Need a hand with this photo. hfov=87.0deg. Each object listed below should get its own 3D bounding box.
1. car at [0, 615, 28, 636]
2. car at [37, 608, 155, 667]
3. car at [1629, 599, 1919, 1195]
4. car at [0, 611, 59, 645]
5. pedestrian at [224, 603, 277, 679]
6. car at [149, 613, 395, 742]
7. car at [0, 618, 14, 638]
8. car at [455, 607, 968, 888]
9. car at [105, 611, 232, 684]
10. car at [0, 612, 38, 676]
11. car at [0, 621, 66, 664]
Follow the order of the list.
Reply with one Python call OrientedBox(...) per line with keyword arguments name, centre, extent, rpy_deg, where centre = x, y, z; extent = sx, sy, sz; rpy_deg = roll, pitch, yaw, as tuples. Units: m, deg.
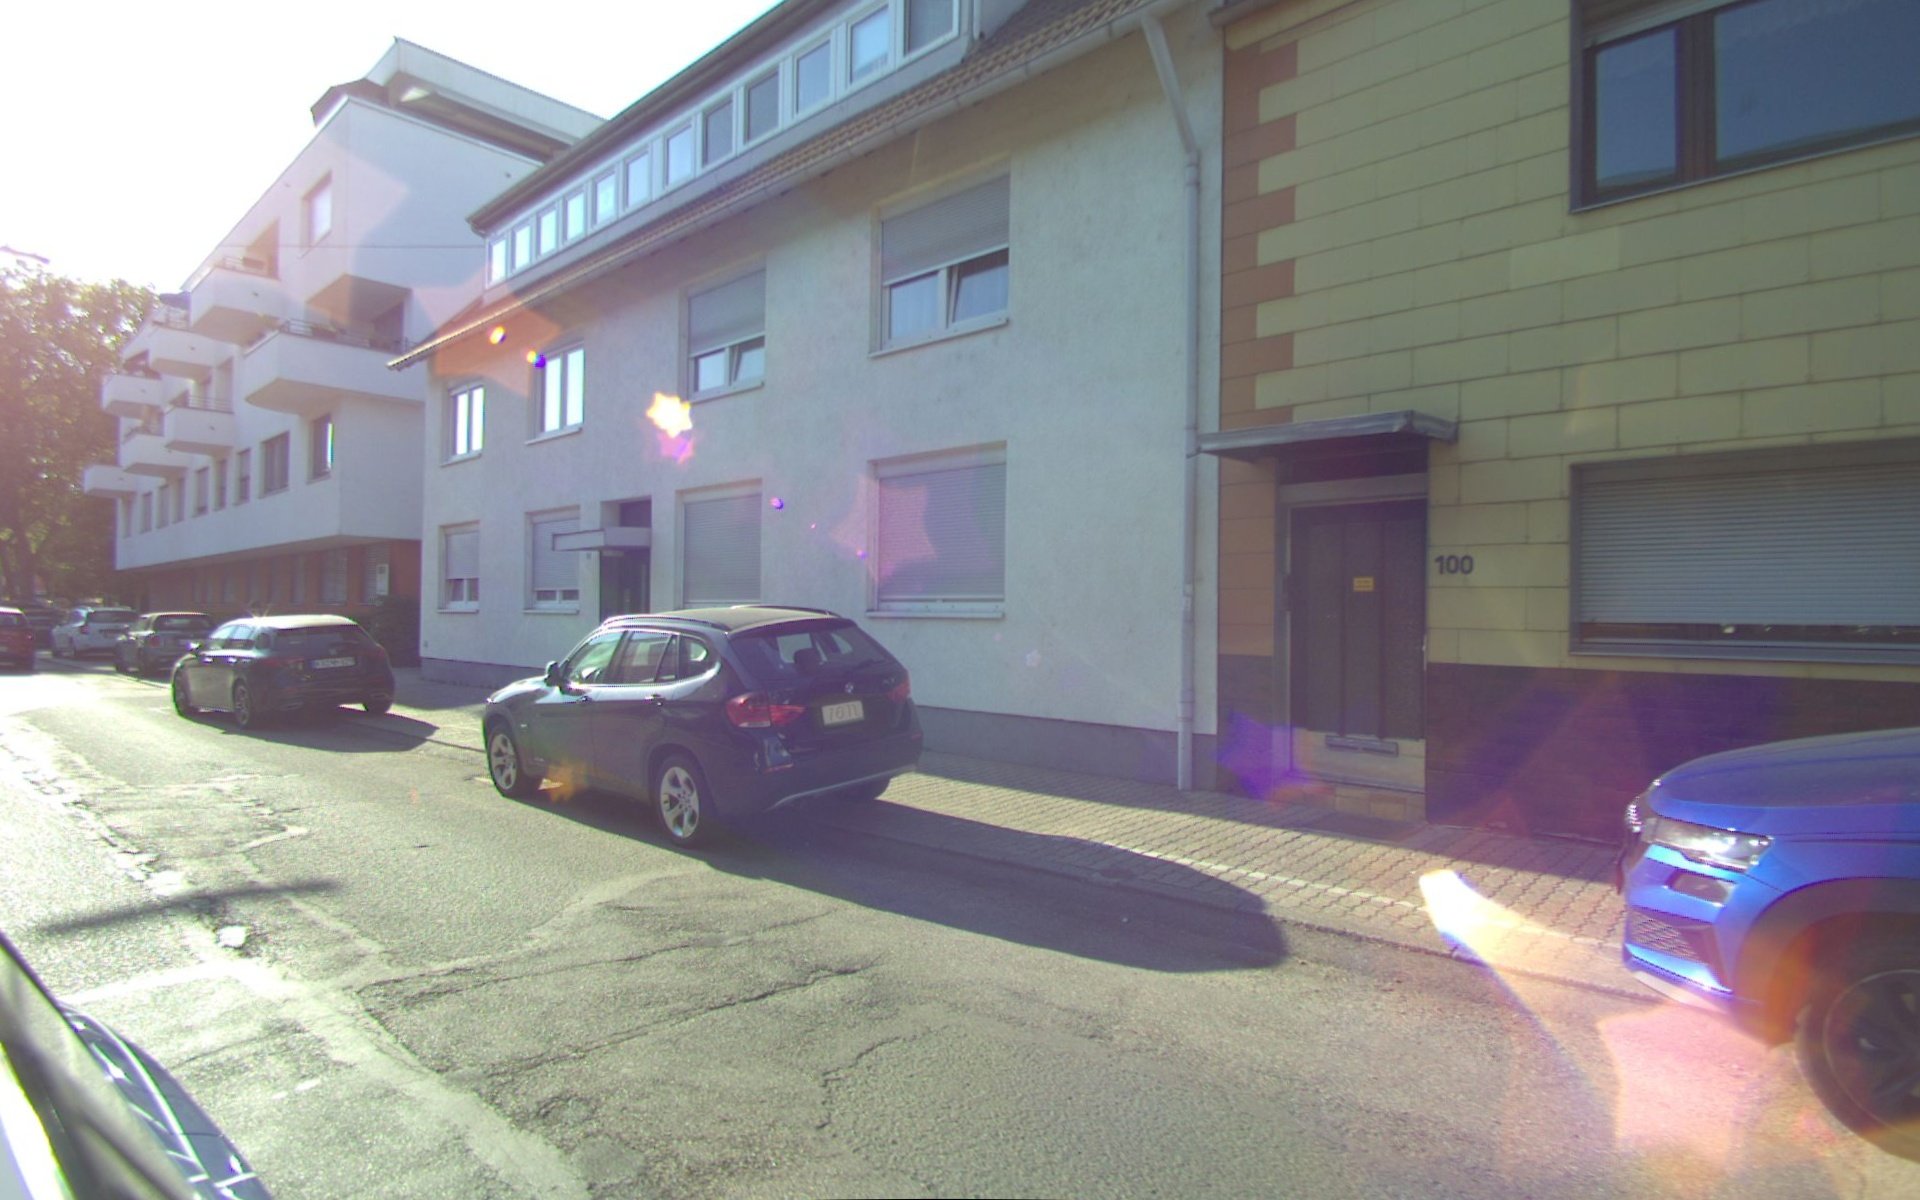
OrientedBox(name="car", centre=(-75.025, 1.955, 78.279), extent=(1.788, 1.637, 3.965), rpy_deg=(0, -1, 26))
OrientedBox(name="car", centre=(-26.096, 1.069, 30.523), extent=(4.615, 1.599, 1.840), rpy_deg=(0, 1, 38))
OrientedBox(name="car", centre=(4.293, 0.764, 2.480), extent=(4.191, 1.599, 1.790), rpy_deg=(-3, -1, 41))
OrientedBox(name="car", centre=(-48.643, 1.416, 51.512), extent=(1.683, 1.675, 3.944), rpy_deg=(0, 0, 13))
OrientedBox(name="pedestrian", centre=(-18.076, 1.021, 25.821), extent=(0.849, 1.832, 1.136), rpy_deg=(-3, 1, -25))
OrientedBox(name="car", centre=(-9.968, 0.985, 14.543), extent=(4.328, 1.547, 1.668), rpy_deg=(0, 1, 38))
OrientedBox(name="car", centre=(-77.011, 2.231, 79.547), extent=(1.639, 1.572, 3.573), rpy_deg=(0, 0, 22))
OrientedBox(name="car", centre=(-2.173, 0.918, 8.053), extent=(4.335, 1.599, 1.838), rpy_deg=(-2, 0, 42))
OrientedBox(name="car", centre=(-18.960, 1.075, 24.192), extent=(3.855, 1.547, 1.650), rpy_deg=(0, 1, 41))
OrientedBox(name="car", centre=(-24.150, 1.043, 24.925), extent=(4.145, 1.502, 1.822), rpy_deg=(-1, -2, 44))
OrientedBox(name="car", centre=(-35.012, 1.542, 37.975), extent=(3.767, 1.444, 1.658), rpy_deg=(0, 1, 40))
